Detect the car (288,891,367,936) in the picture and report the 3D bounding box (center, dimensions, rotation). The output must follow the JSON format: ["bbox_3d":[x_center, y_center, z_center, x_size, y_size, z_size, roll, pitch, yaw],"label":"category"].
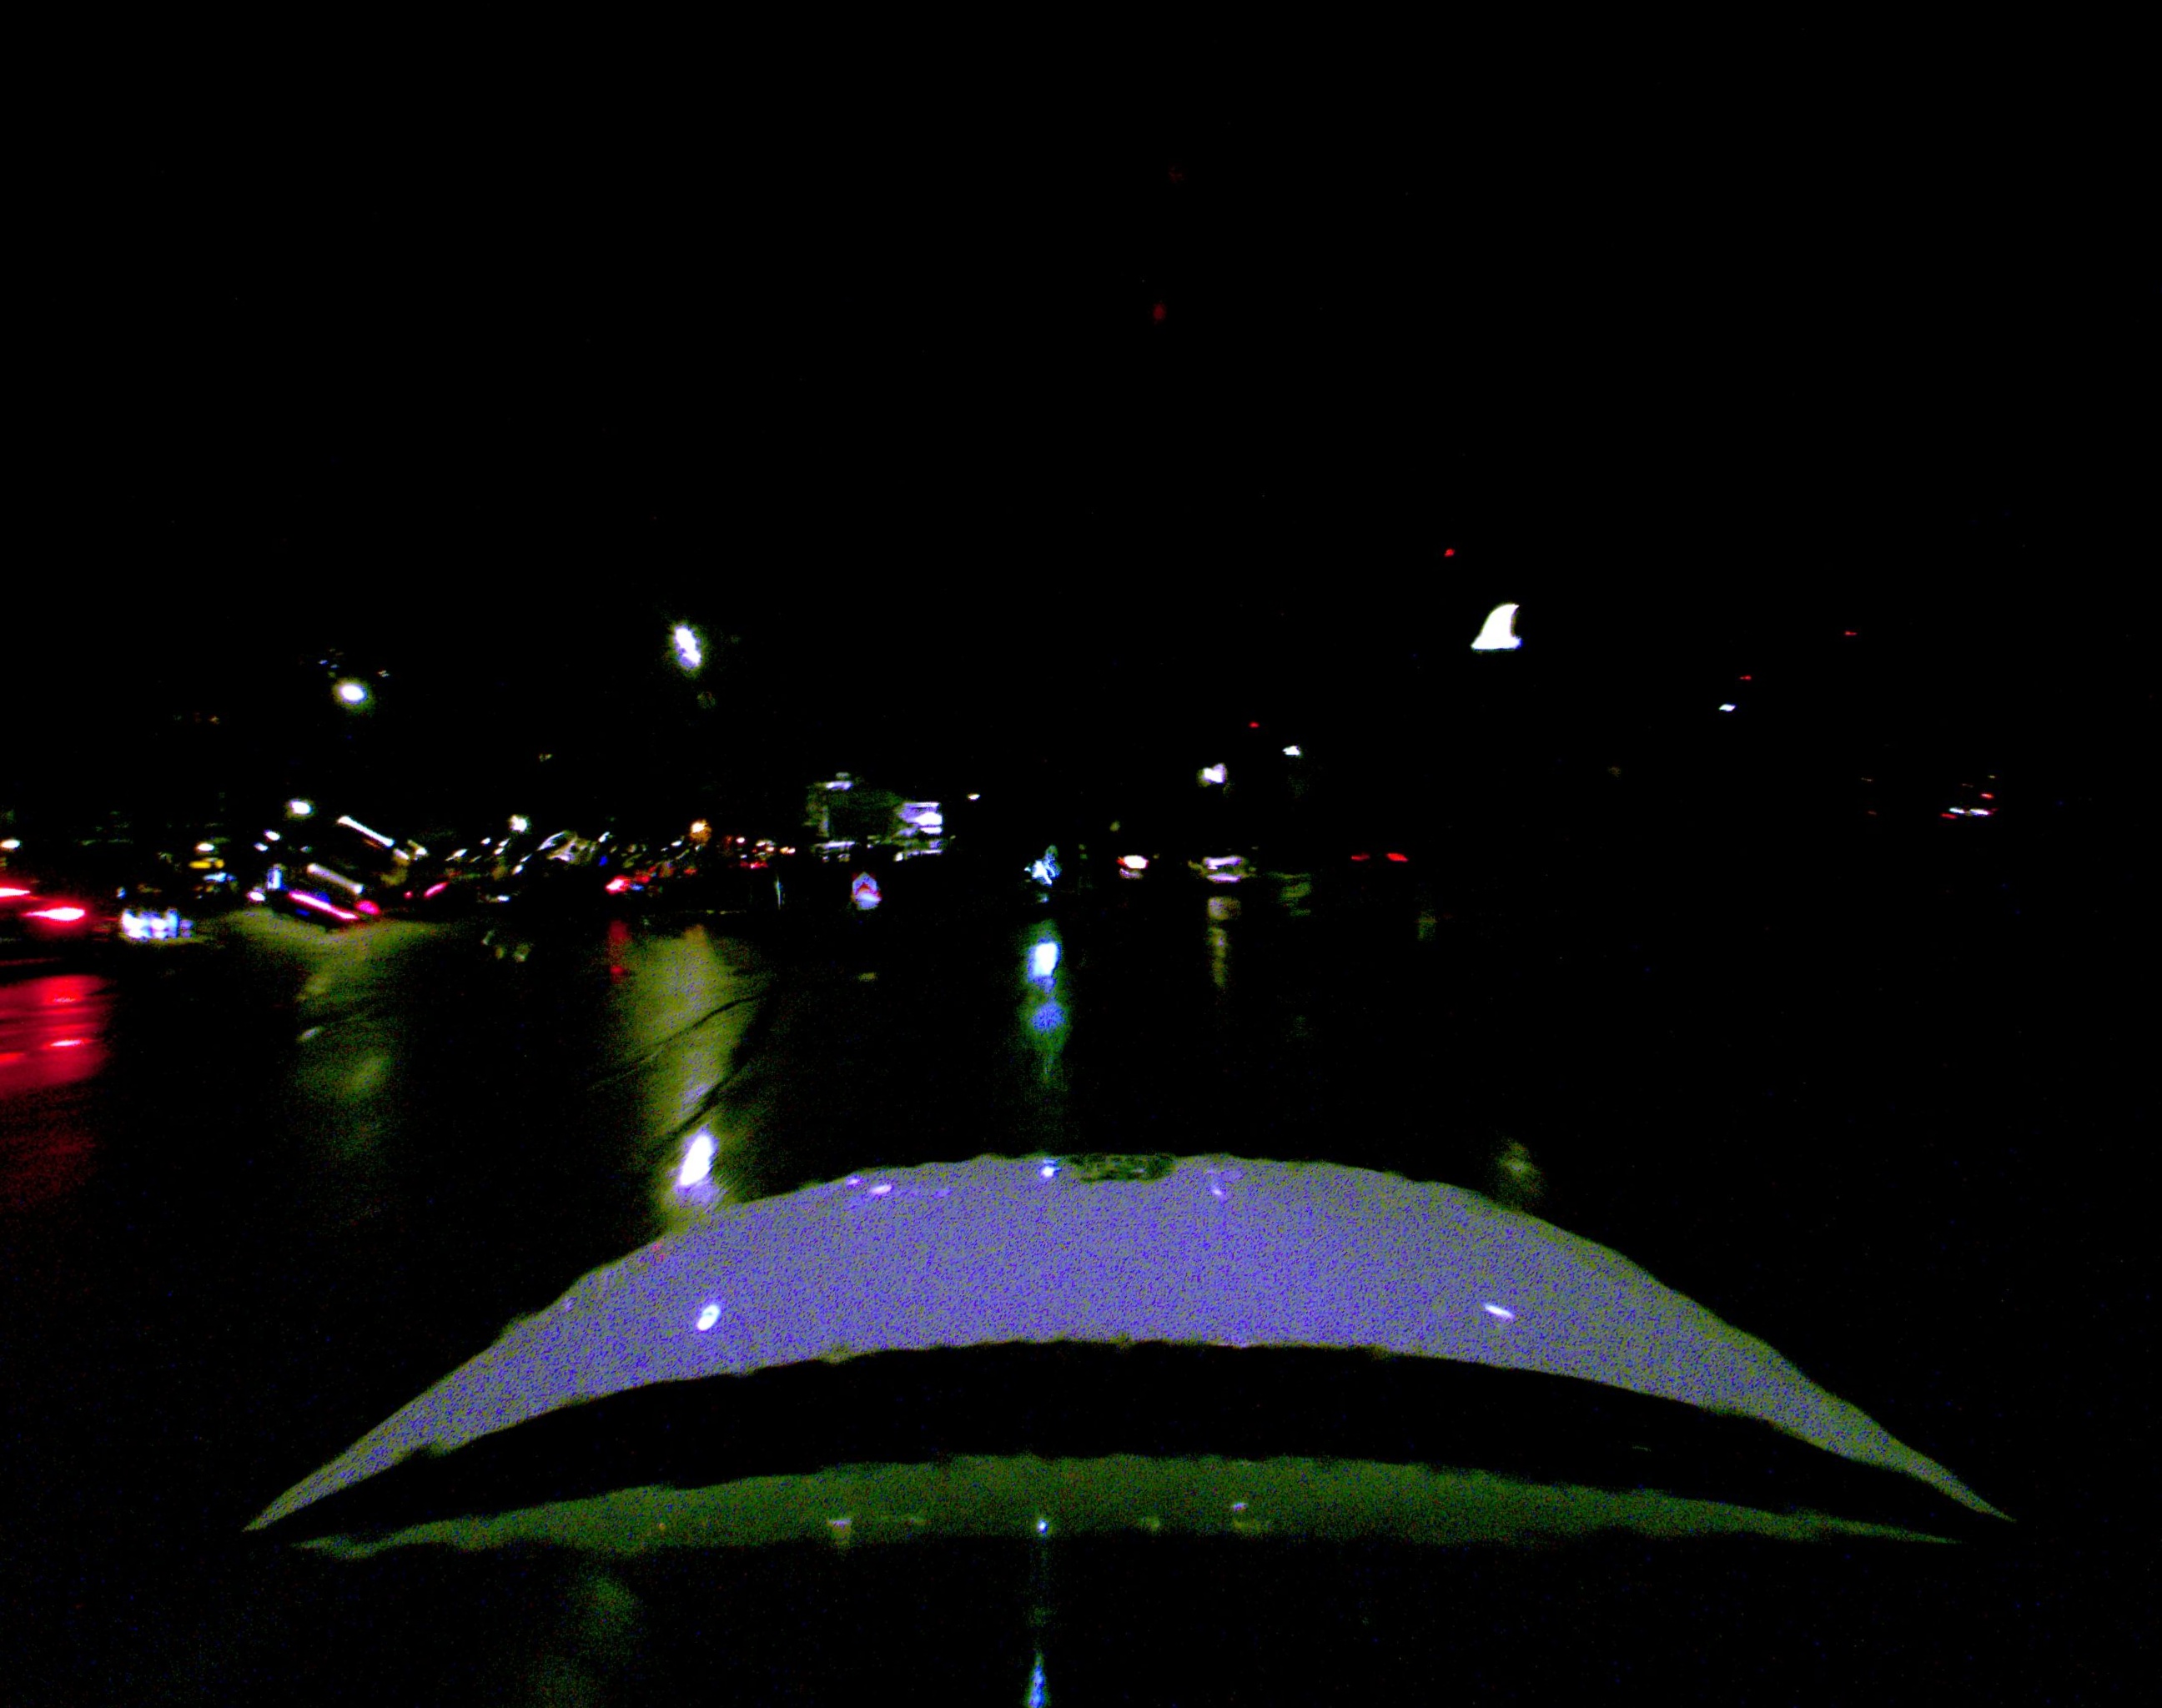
[{"bbox_3d":[-30.961,2.406,33.441,3.948,1.583,1.606,-1,2,36],"label":"car"}]

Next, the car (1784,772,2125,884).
[{"bbox_3d":[16.329,-0.397,15.471,1.924,1.684,3.962,-3,-3,-29],"label":"car"}]

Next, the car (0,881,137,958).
[{"bbox_3d":[-24.828,1.499,19.643,3.914,1.578,1.889,-1,1,29],"label":"car"}]

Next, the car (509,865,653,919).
[{"bbox_3d":[-17.653,1.313,28.915,3.871,1.639,1.861,-2,1,-5],"label":"car"}]

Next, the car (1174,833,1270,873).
[{"bbox_3d":[6.843,-0.085,39.451,4.406,1.758,1.860,-3,1,-29],"label":"car"}]

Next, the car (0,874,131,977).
[{"bbox_3d":[-19.070,1.232,14.828,1.747,1.578,3.917,-3,2,-42],"label":"car"}]

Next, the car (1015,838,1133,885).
[{"bbox_3d":[-0.305,0.280,34.969,4.629,1.736,1.983,-2,1,-26],"label":"car"}]

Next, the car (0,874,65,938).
[{"bbox_3d":[-29.397,1.399,21.652,3.919,1.578,1.746,-1,1,20],"label":"car"}]

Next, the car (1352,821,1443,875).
[{"bbox_3d":[13.028,-0.285,33.359,1.974,2.013,4.586,-1,2,41],"label":"car"}]
